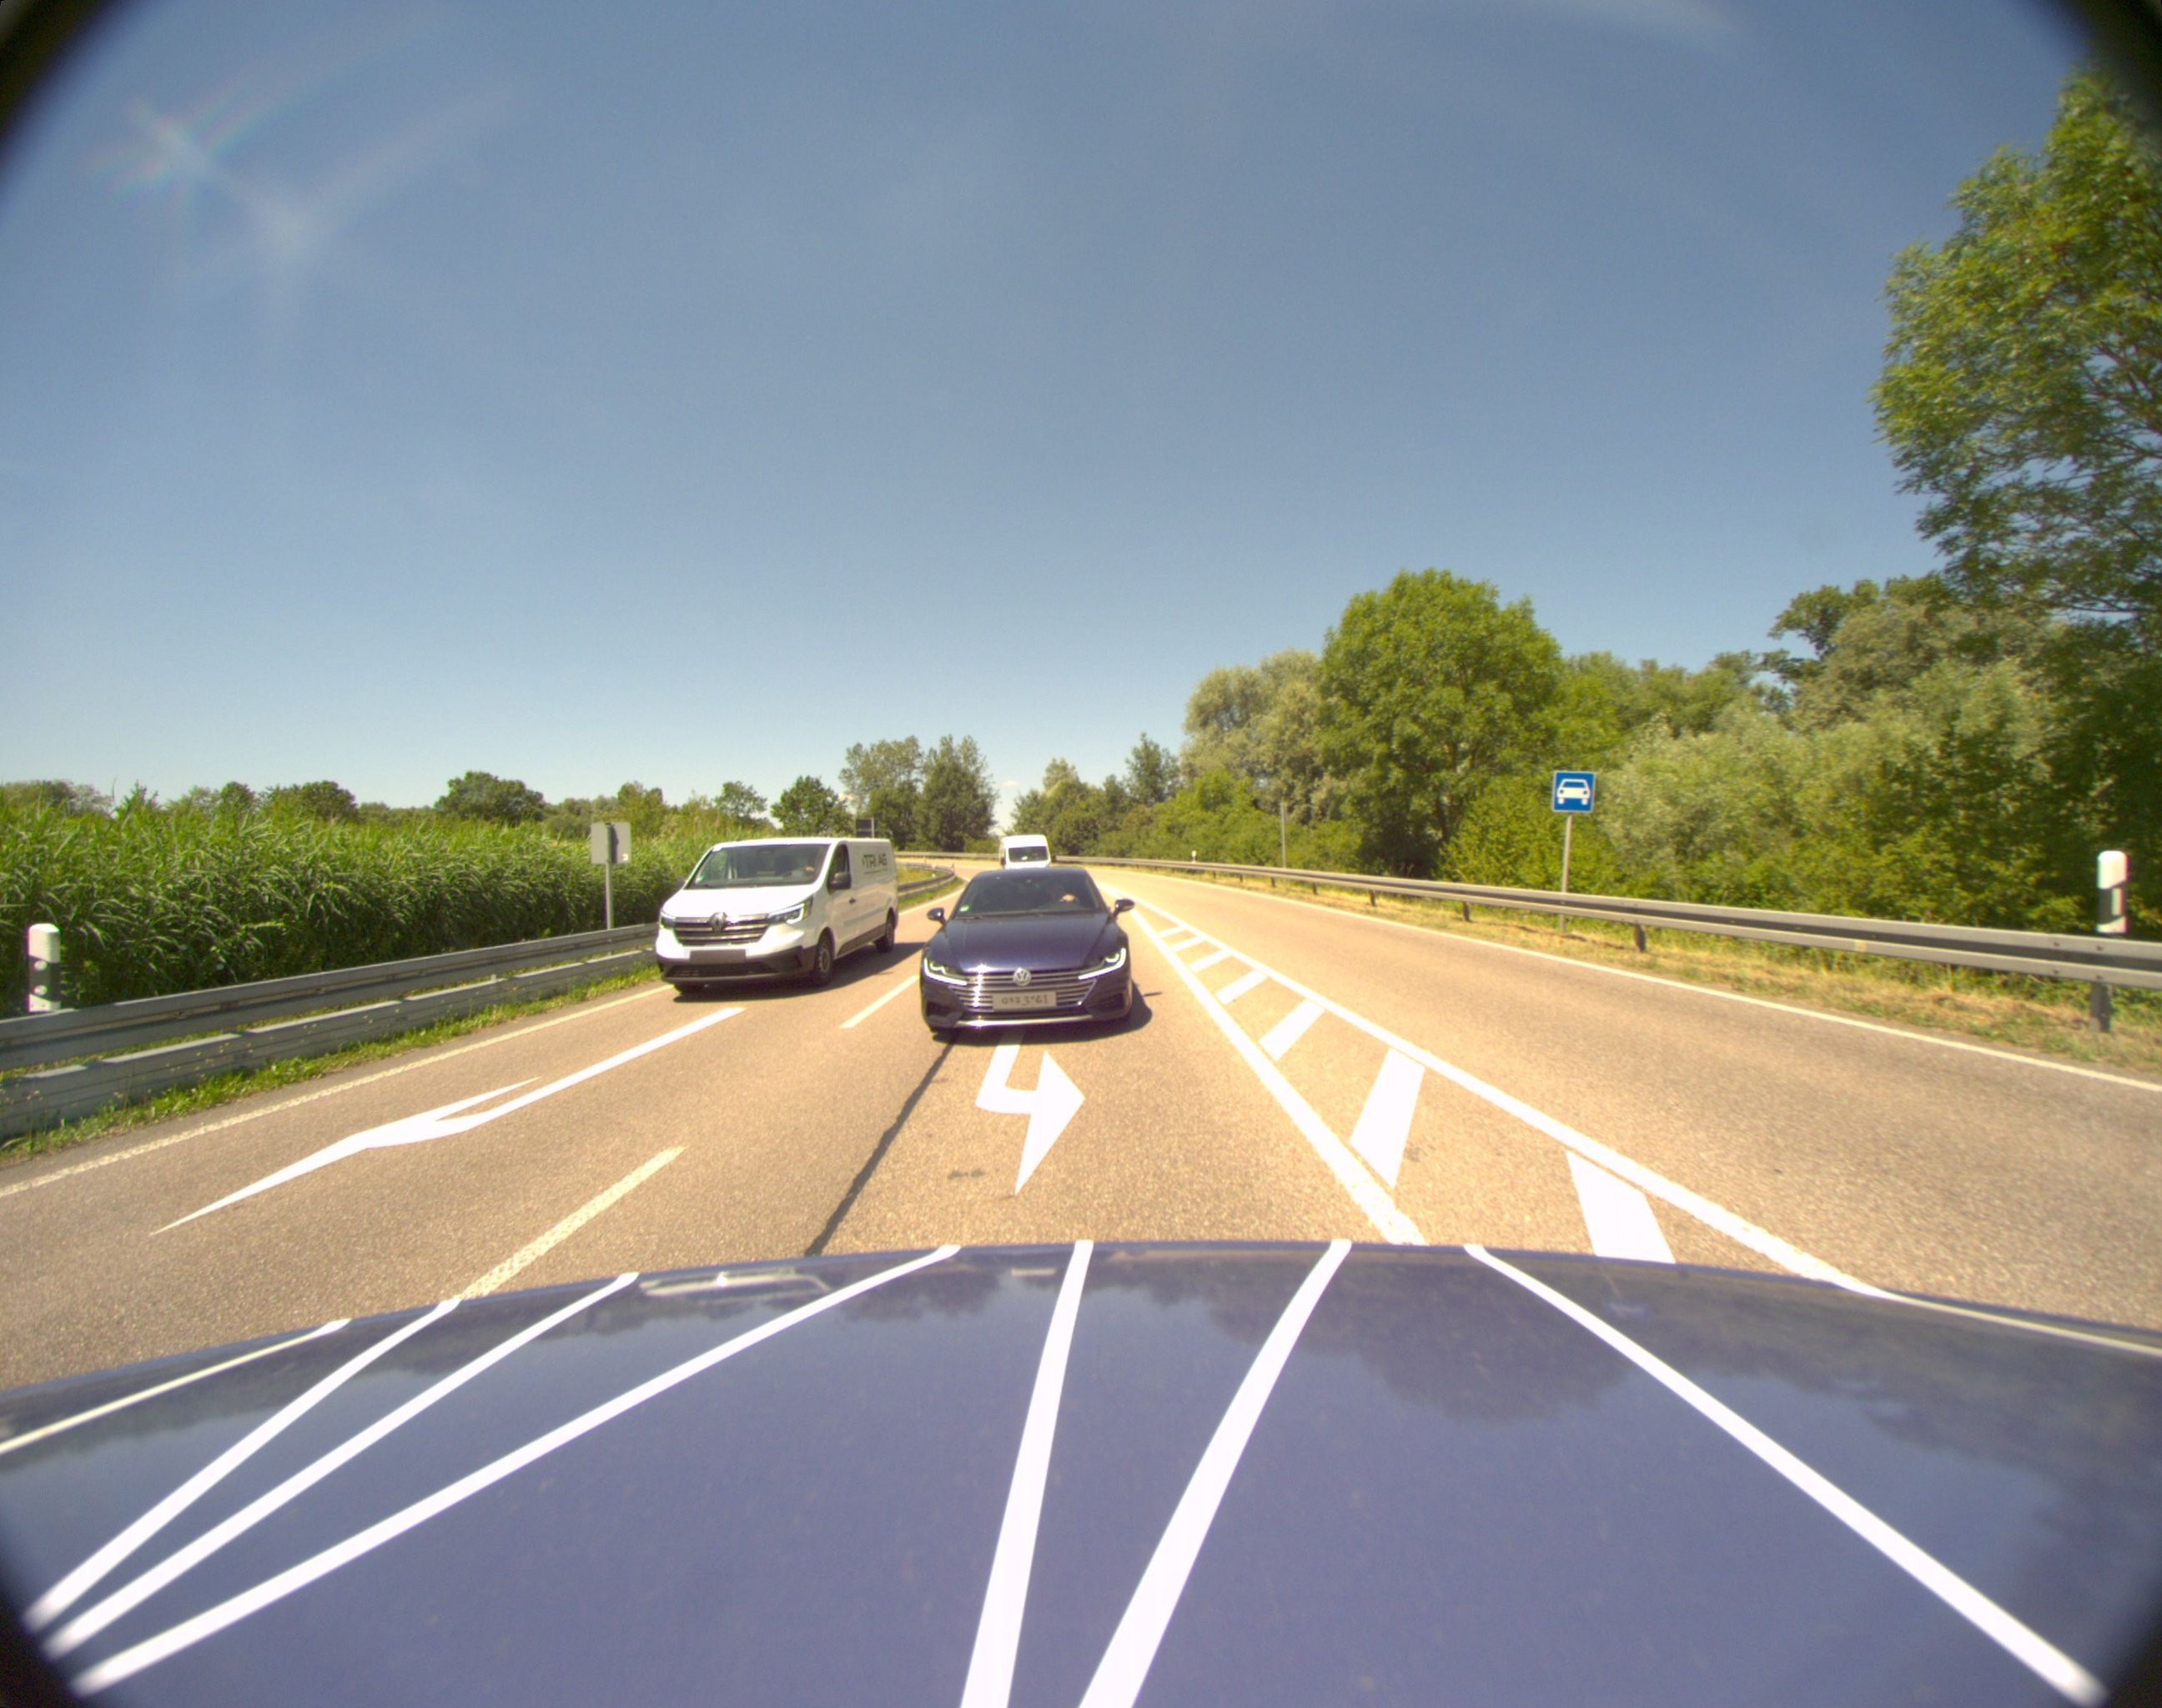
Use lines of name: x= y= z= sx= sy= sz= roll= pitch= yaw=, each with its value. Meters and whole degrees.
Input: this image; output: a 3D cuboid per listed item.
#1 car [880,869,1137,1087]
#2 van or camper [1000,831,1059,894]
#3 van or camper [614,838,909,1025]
car: x=-0.514 y=0.968 z=7.889 sx=1.843 sy=1.422 sz=4.533 roll=-2 pitch=1 yaw=0
van or camper: x=-2.485 y=0.354 z=35.091 sx=2.075 sy=2.540 sz=6.042 roll=-2 pitch=1 yaw=-9
van or camper: x=-4.181 y=0.840 z=11.211 sx=2.009 sy=2.020 sz=5.447 roll=-2 pitch=1 yaw=0
